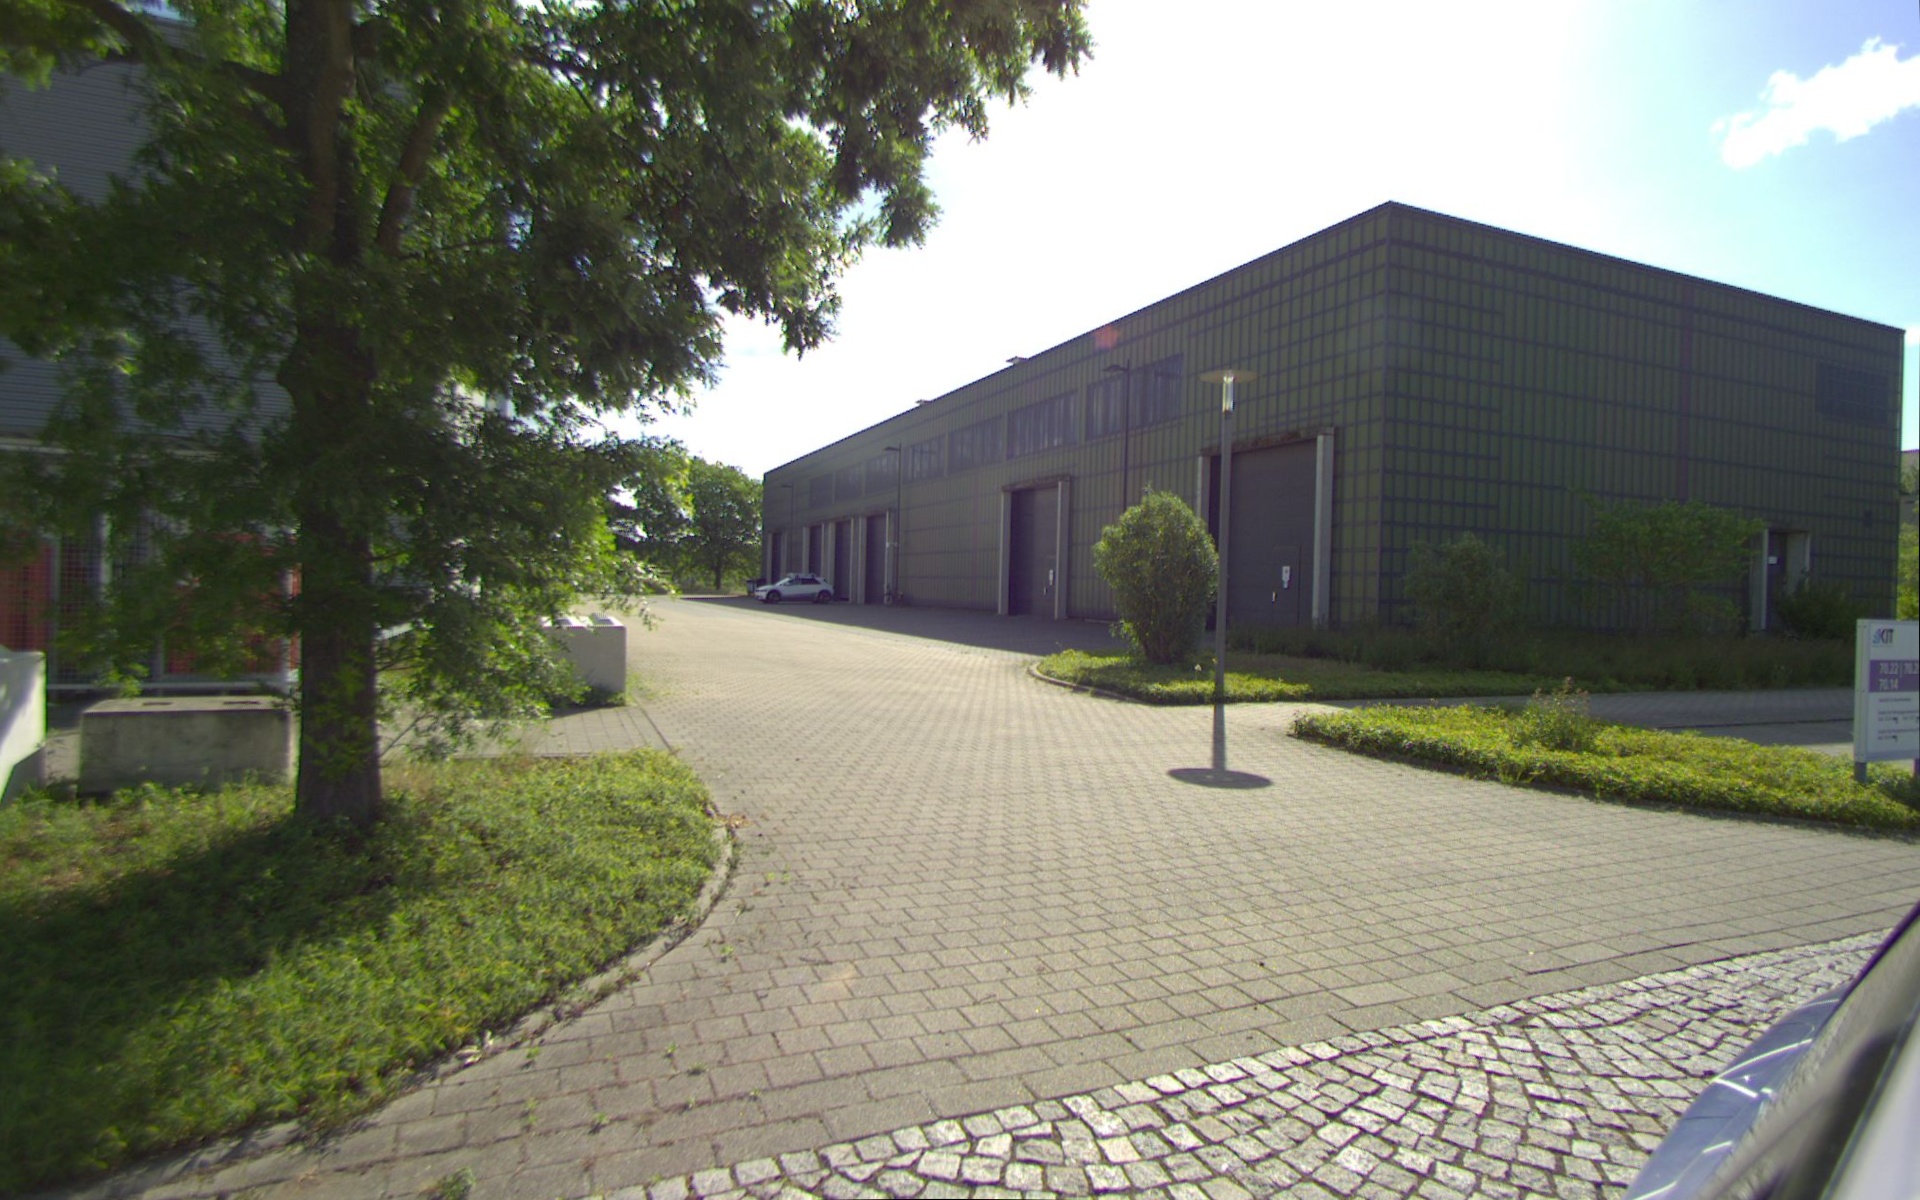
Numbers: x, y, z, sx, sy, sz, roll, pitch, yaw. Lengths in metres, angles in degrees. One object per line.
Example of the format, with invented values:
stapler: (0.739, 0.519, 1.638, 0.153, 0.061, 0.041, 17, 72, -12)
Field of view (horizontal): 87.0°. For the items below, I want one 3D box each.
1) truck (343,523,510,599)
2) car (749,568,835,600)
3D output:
truck: (-29.291, -2.076, 55.999, 7.933, 3.866, 2.656, 1, 0, -23)
car: (-9.634, -0.906, 58.057, 4.484, 1.683, 2.004, 1, 1, -24)
